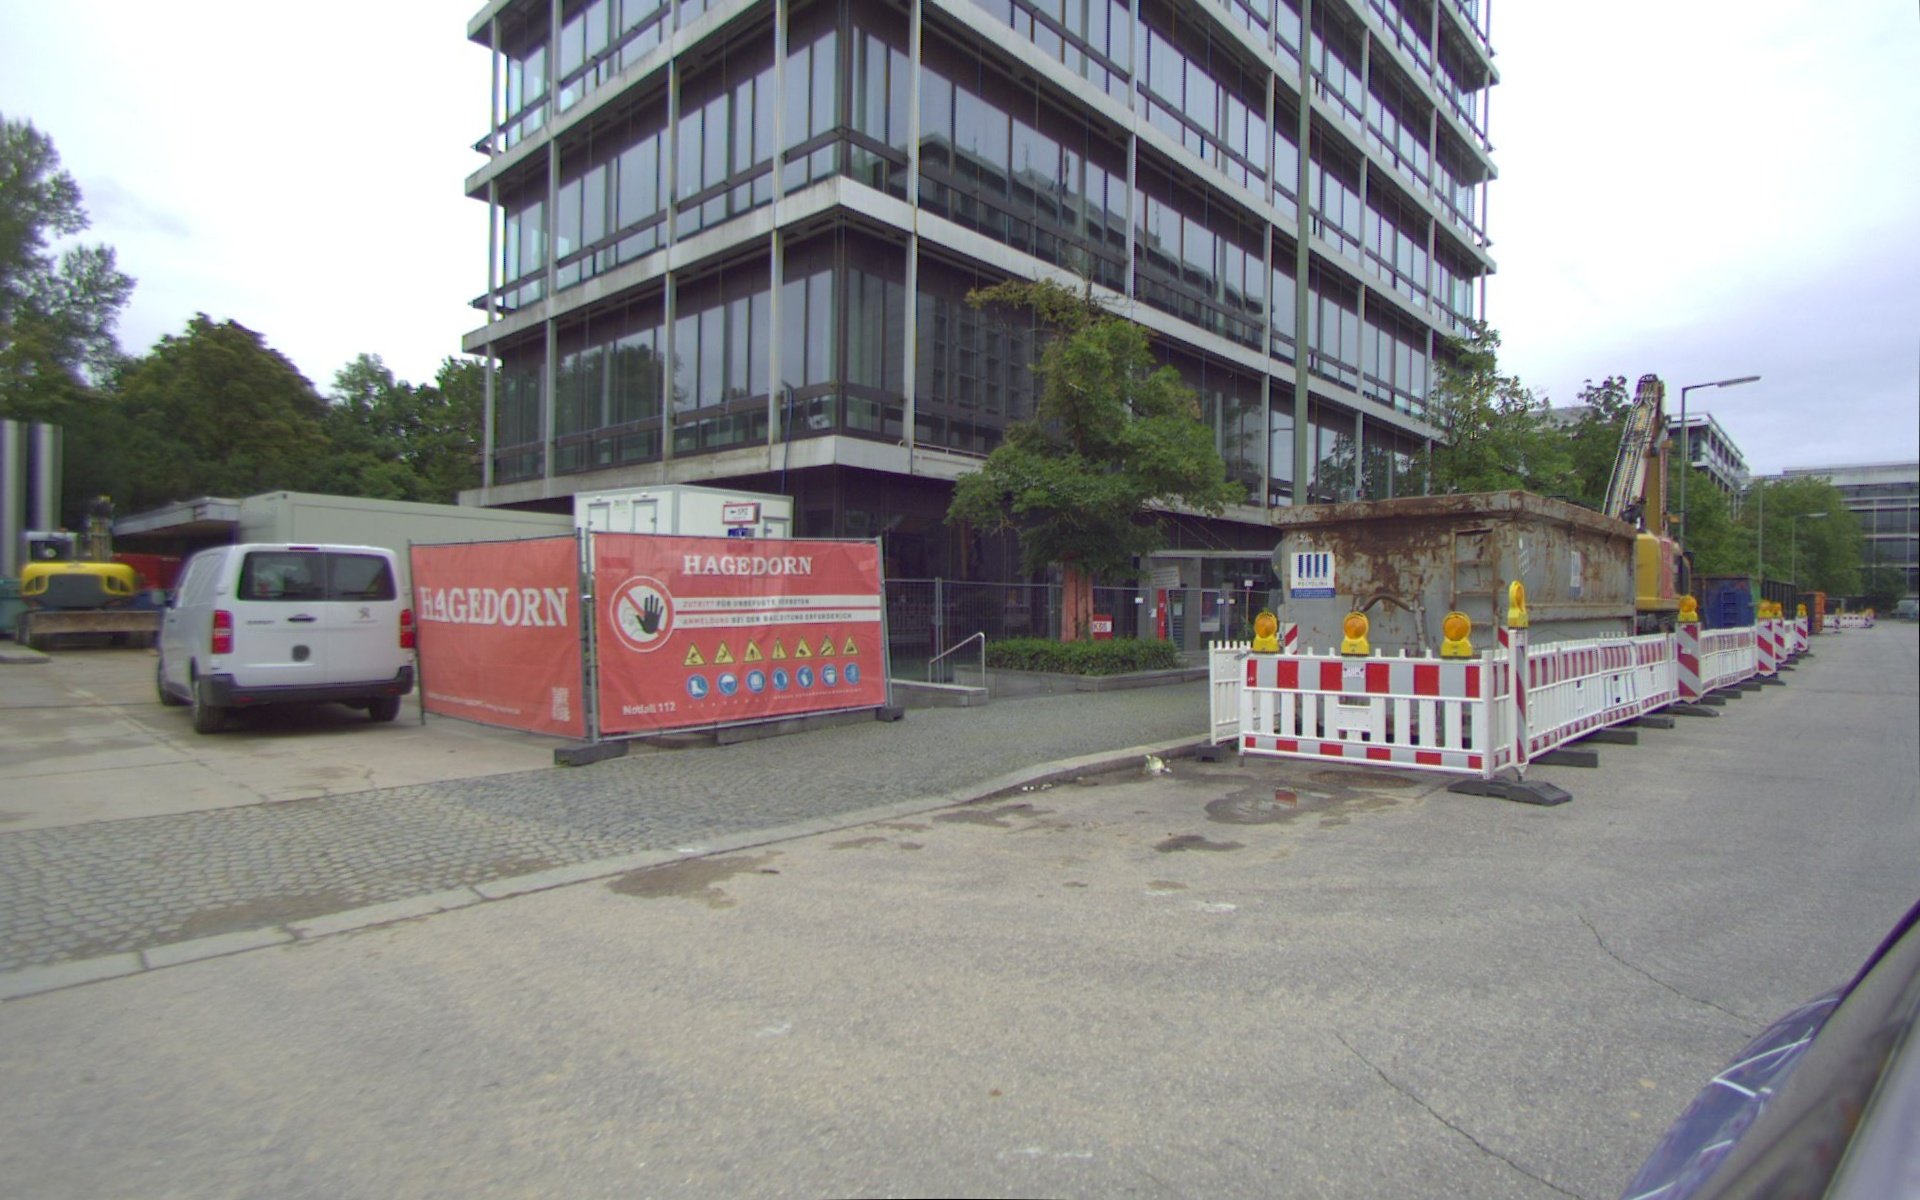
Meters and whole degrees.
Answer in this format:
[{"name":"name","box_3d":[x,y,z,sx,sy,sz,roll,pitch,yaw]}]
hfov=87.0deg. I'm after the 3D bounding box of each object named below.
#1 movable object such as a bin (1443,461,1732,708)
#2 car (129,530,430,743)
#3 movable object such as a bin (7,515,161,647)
[{"name":"movable object such as a bin","box_3d":[12.592,-0.286,19.816,3.240,3.763,8.870,1,1,42]},{"name":"car","box_3d":[-7.984,0.317,11.659,4.762,1.946,1.968,1,0,45]},{"name":"movable object such as a bin","box_3d":[-23.321,-0.471,26.860,2.757,3.141,5.064,1,0,-44]}]
